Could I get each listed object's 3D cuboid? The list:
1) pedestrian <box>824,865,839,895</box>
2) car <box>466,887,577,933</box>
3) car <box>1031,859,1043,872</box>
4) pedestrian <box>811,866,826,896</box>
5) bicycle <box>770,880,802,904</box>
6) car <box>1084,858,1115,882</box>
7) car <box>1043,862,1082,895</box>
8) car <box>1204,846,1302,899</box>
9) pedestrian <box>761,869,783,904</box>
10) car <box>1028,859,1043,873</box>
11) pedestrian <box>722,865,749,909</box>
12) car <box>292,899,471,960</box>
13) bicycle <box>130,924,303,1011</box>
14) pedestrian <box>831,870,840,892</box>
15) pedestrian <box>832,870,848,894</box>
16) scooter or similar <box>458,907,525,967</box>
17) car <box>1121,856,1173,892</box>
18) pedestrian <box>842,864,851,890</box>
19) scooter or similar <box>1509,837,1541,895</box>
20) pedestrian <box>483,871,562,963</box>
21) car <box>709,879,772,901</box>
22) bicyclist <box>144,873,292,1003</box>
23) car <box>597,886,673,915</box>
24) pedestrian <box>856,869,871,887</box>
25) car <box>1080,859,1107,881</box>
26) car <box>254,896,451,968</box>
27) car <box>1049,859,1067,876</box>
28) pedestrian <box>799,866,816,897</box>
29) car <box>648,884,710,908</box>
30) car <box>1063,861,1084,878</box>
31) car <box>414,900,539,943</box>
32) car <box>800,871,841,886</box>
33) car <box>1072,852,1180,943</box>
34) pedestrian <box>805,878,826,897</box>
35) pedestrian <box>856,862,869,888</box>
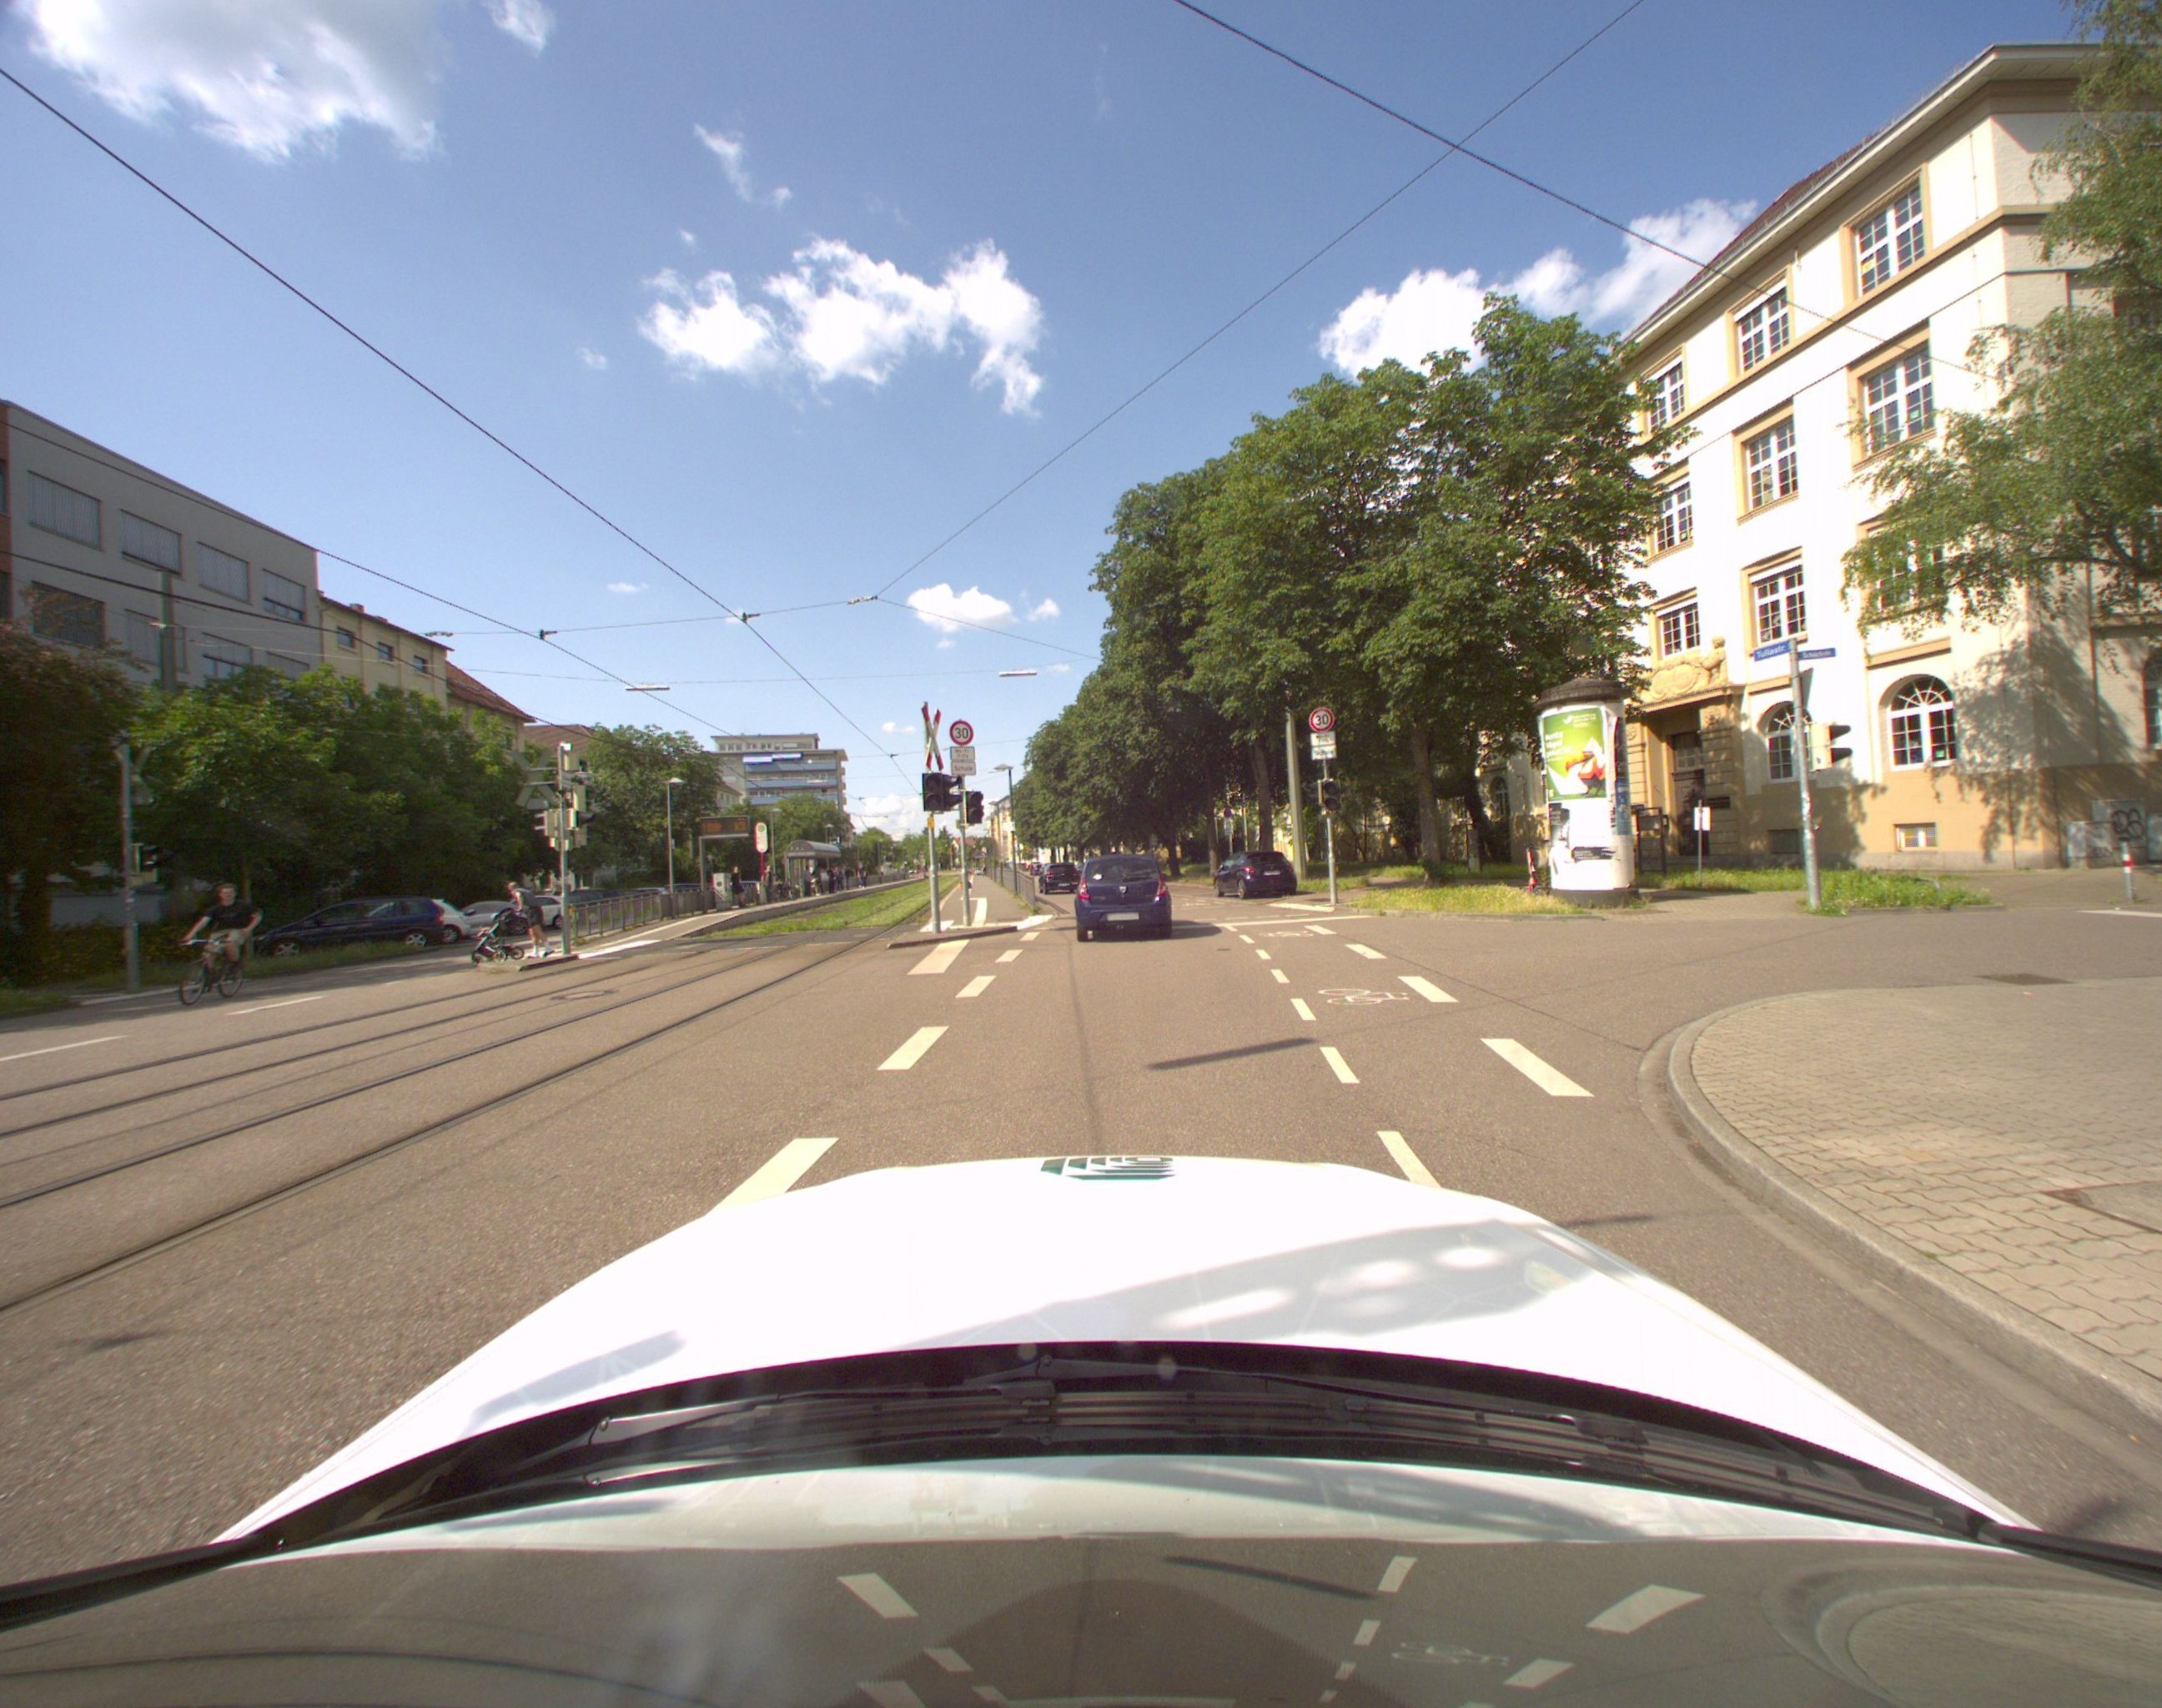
[{"bbox_3d":[-15.356,1.602,50.170,0.602,1.766,0.639,-3,-1,2],"label":"pedestrian"},{"bbox_3d":[-22.462,2.219,32.750,3.409,1.505,1.525,-3,-1,-45],"label":"car"},{"bbox_3d":[-6.138,1.613,113.949,1.664,1.772,3.995,-3,0,-3],"label":"car"},{"bbox_3d":[-15.798,1.610,49.035,0.592,1.736,0.556,-4,-1,-2],"label":"pedestrian"},{"bbox_3d":[-13.886,1.761,38.427,0.683,0.974,1.772,-6,0,3],"label":"bicycle"},{"bbox_3d":[1.281,1.123,58.149,1.856,1.445,3.997,-5,0,-2],"label":"car"},{"bbox_3d":[-0.897,1.106,38.518,1.696,1.368,3.511,-2,0,-3],"label":"car"},{"bbox_3d":[5.339,0.579,25.808,1.764,1.433,3.893,-4,0,-8],"label":"car"},{"bbox_3d":[-14.582,1.521,38.470,0.661,1.569,0.686,-5,-1,1],"label":"pedestrian"},{"bbox_3d":[-6.032,1.561,107.836,1.825,1.761,3.997,-3,0,-2],"label":"car"},{"bbox_3d":[-14.107,1.348,33.272,0.705,1.726,0.672,-4,-1,35],"label":"pedestrian"},{"bbox_3d":[-22.341,2.349,26.116,1.704,1.499,4.158,-4,-1,44],"label":"car"},{"bbox_3d":[-14.536,1.869,13.794,1.156,1.177,1.779,-4,-1,-14],"label":"bicycle"},{"bbox_3d":[-17.124,1.889,56.748,0.489,1.452,0.461,-4,-1,-17],"label":"pedestrian"},{"bbox_3d":[-15.016,1.727,50.739,0.648,1.426,0.566,-4,-1,30],"label":"pedestrian"},{"bbox_3d":[-11.942,1.662,16.523,0.961,1.064,0.789,-5,0,-32],"label":"scooter or similar"},{"bbox_3d":[2.977,0.887,37.611,1.856,1.445,3.997,-5,0,-2],"label":"car"},{"bbox_3d":[-16.301,1.601,56.694,0.489,1.712,0.461,-4,-1,-17],"label":"pedestrian"},{"bbox_3d":[9.484,0.245,17.422,0.303,1.189,1.167,-3,-1,16],"label":"scooter or similar"},{"bbox_3d":[-11.598,1.279,16.947,0.870,1.775,1.001,-5,0,-8],"label":"pedestrian"},{"bbox_3d":[-26.276,2.741,62.930,1.694,1.367,4.025,-4,-1,42],"label":"car"},{"bbox_3d":[-14.562,1.355,13.817,0.949,2.013,1.568,-3,-1,-14],"label":"bicyclist"},{"bbox_3d":[-24.059,2.507,44.040,1.437,1.309,3.268,-4,-1,35],"label":"car"},{"bbox_3d":[-18.734,2.068,70.122,1.033,1.437,0.698,-5,0,-22],"label":"pedestrian"},{"bbox_3d":[0.953,1.230,62.804,1.846,1.515,3.997,-3,0,-2],"label":"car"},{"bbox_3d":[-21.354,2.208,23.993,1.704,1.640,4.158,-4,-1,44],"label":"car"},{"bbox_3d":[-2.552,1.484,89.459,1.616,1.750,3.991,-3,0,-6],"label":"car"},{"bbox_3d":[-15.076,1.506,44.964,0.654,1.692,0.655,-4,-1,-7],"label":"pedestrian"},{"bbox_3d":[-25.962,2.723,52.658,1.437,1.309,3.268,-4,-1,37],"label":"car"},{"bbox_3d":[-0.726,1.412,75.588,1.856,1.445,3.997,-4,0,-2],"label":"car"},{"bbox_3d":[-21.992,2.418,29.708,1.525,1.236,3.410,-4,-1,44],"label":"car"},{"bbox_3d":[-29.753,2.829,93.100,4.022,1.447,1.707,-3,-1,-42],"label":"car"},{"bbox_3d":[0.830,0.742,15.739,1.761,1.462,3.777,-3,0,2],"label":"car"},{"bbox_3d":[-15.158,1.911,46.570,0.923,0.989,0.796,-5,-1,-5],"label":"pedestrian"},{"bbox_3d":[-17.305,1.695,64.388,0.665,2.013,0.795,-3,-1,-36],"label":"pedestrian"}]
